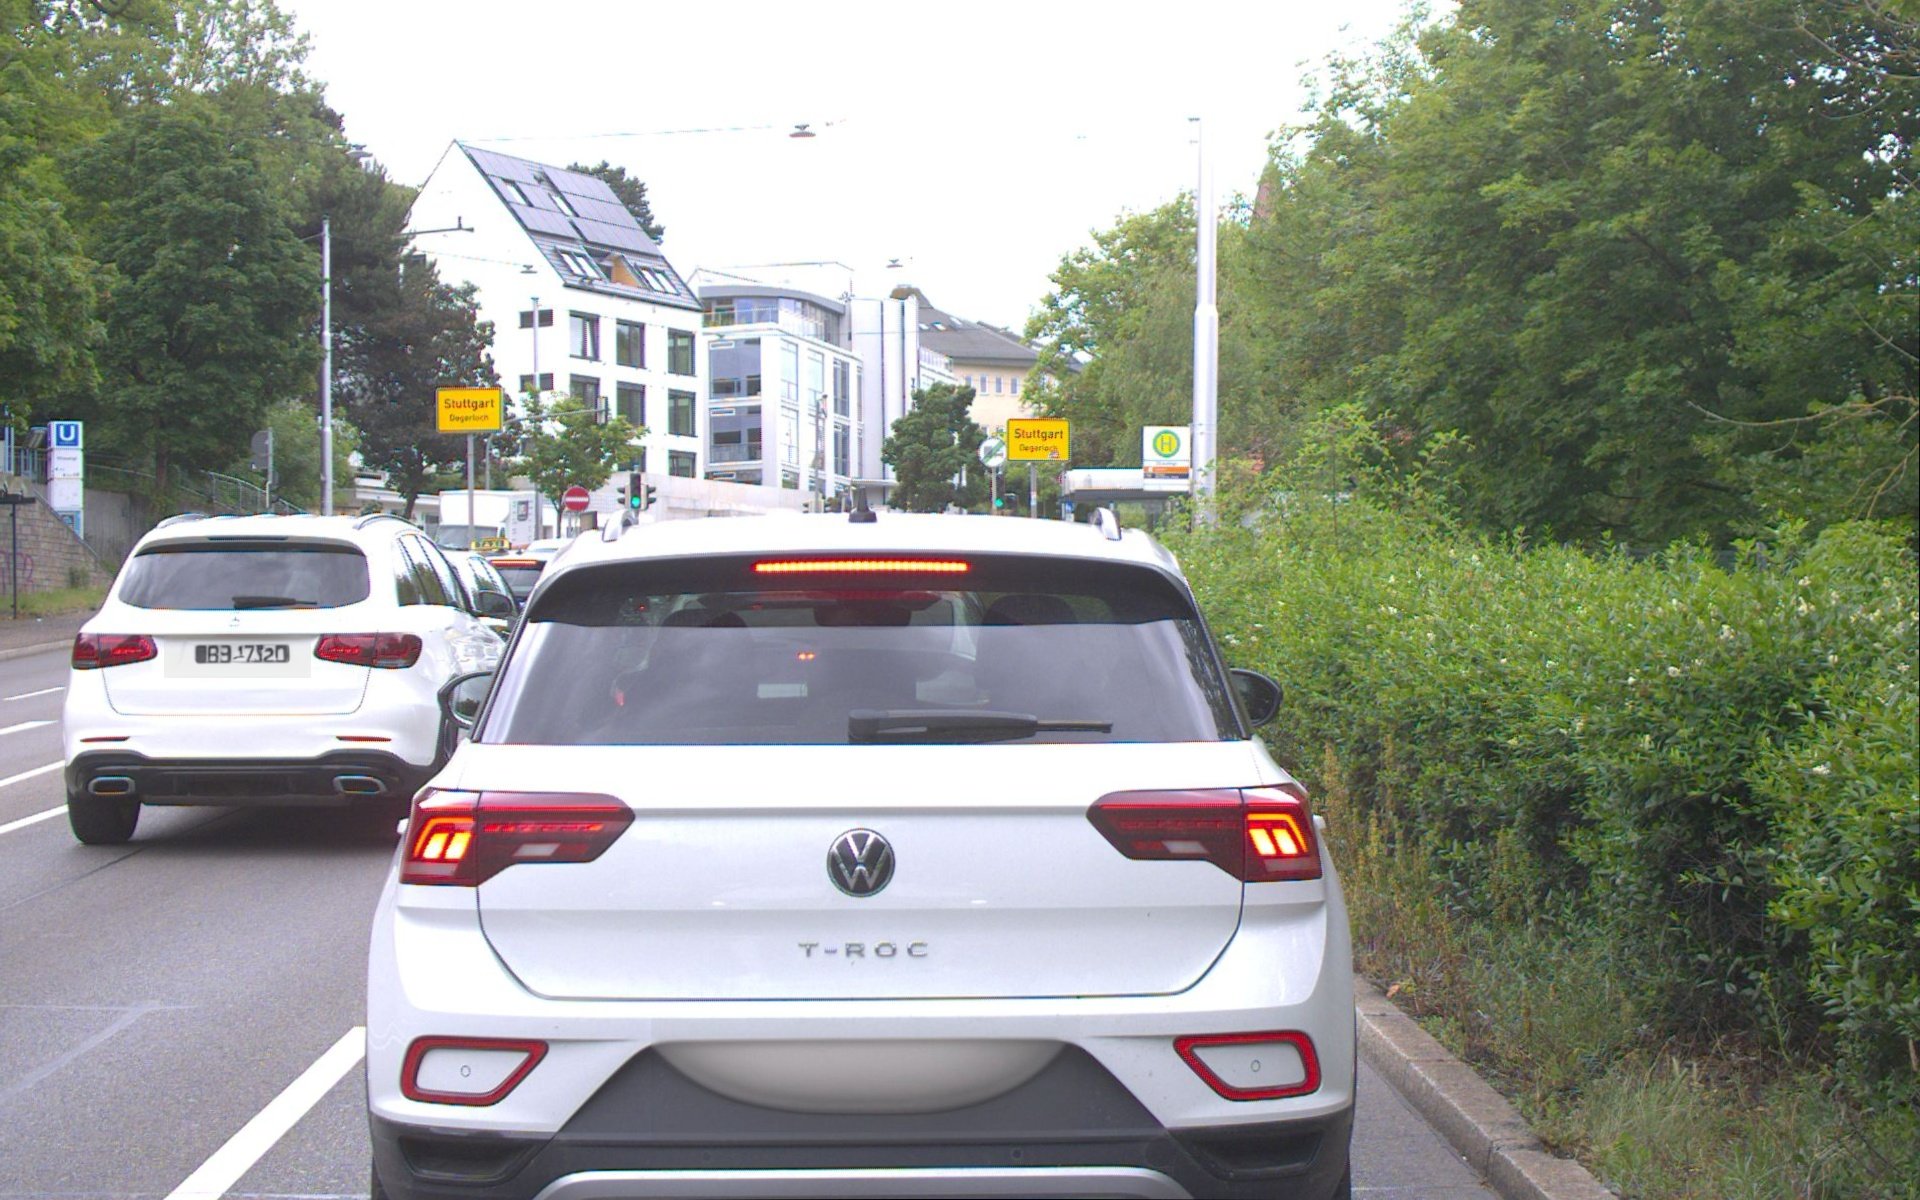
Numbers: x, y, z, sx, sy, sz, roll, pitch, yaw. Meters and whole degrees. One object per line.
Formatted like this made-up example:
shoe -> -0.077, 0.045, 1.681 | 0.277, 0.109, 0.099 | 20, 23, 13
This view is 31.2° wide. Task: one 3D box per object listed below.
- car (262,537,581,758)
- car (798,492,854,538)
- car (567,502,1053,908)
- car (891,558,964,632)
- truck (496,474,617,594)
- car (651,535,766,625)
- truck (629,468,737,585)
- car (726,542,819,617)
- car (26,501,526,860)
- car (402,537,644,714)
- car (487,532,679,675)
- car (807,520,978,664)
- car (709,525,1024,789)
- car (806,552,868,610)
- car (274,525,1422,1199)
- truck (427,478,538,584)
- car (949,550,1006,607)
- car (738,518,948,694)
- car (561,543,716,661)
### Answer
car -> -3.935, 0.292, 25.721 | 1.829, 1.492, 4.000 | -1, 1, -1
car -> -4.544, -2.888, 117.076 | 1.829, 1.520, 4.000 | -1, 1, -1
car -> -0.624, 0.365, 15.162 | 1.829, 1.520, 4.000 | -1, 1, -1
car -> -0.905, -0.131, 98.289 | 1.993, 2.007, 4.000 | -1, 0, 0
truck -> -9.502, -1.555, 81.224 | 2.362, 2.697, 4.478 | -2, 1, -1
car -> -4.451, -0.380, 61.309 | 1.829, 1.520, 4.000 | -1, 1, -1
truck -> -6.899, -1.837, 85.949 | 2.362, 2.772, 4.478 | -2, 1, -1
car -> -3.947, -0.452, 72.862 | 1.829, 1.520, 4.000 | -1, 1, -1
car -> -3.449, 0.343, 18.062 | 1.918, 1.664, 4.000 | 0, 1, -1
car -> -4.019, 0.191, 32.202 | 1.829, 1.520, 4.000 | -1, 1, -1
car -> -4.263, 0.002, 39.371 | 1.829, 1.520, 4.000 | -1, 1, -1
car -> -0.781, -0.125, 39.179 | 1.829, 1.520, 4.000 | -1, 1, -1
car -> -0.603, 0.299, 22.268 | 1.829, 1.520, 4.000 | -1, 1, -1
car -> -3.732, -0.594, 104.931 | 1.815, 1.651, 3.929 | -2, 1, -1
car -> -0.225, 0.611, 7.506 | 1.829, 1.520, 4.000 | 0, 1, -1
truck -> -14.274, -2.046, 103.152 | 2.293, 3.040, 6.979 | -1, 1, 0
car -> 0.620, -0.822, 127.350 | 1.993, 2.007, 4.000 | -1, 1, -1
car -> -1.086, 0.021, 32.358 | 1.829, 1.520, 4.000 | -1, 1, -1
car -> -4.369, -0.009, 47.192 | 1.829, 1.520, 4.000 | -1, 1, -1
